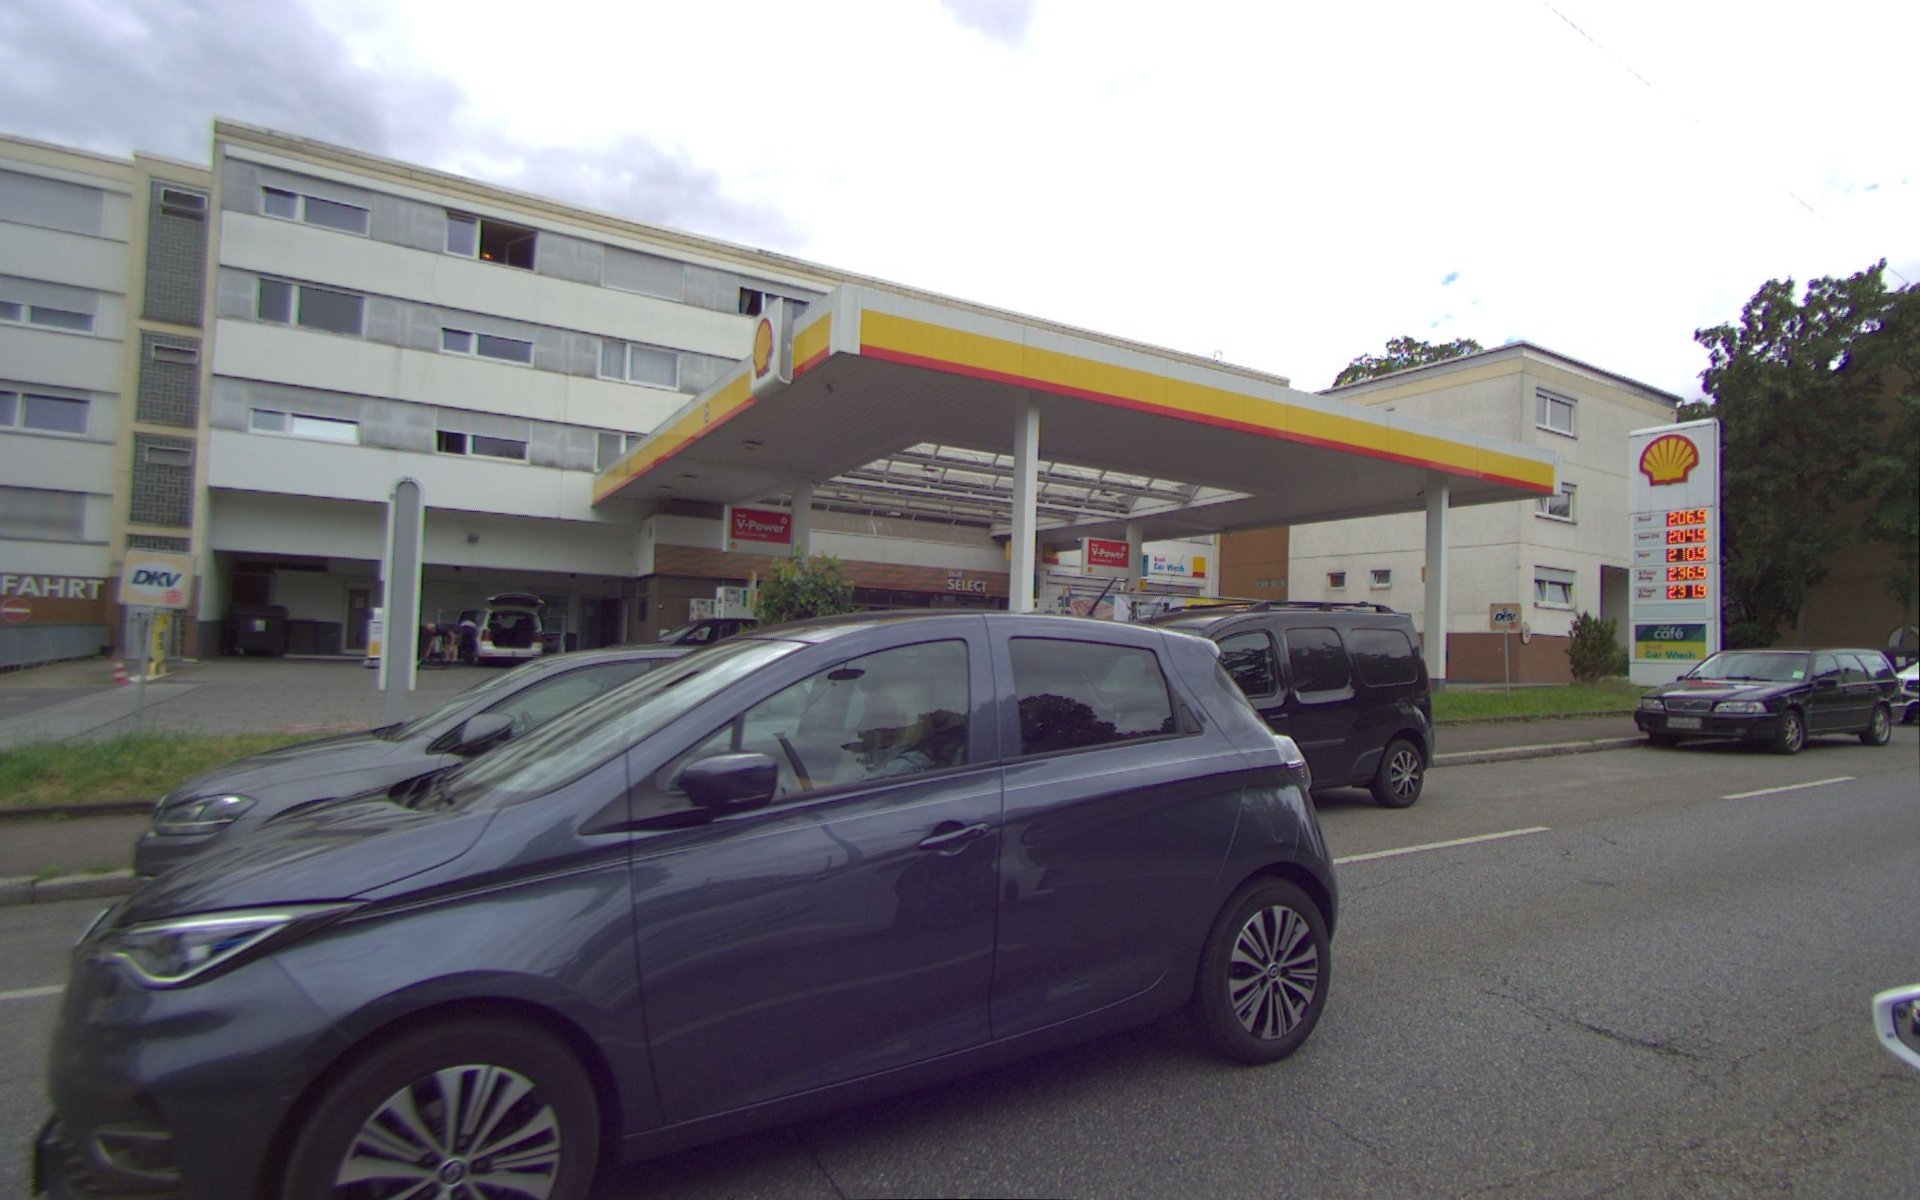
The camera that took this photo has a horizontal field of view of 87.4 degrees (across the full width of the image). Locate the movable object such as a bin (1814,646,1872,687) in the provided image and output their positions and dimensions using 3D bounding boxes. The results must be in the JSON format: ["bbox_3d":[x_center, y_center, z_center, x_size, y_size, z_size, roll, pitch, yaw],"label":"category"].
[{"bbox_3d":[32.230,2.405,36.673,0.903,1.447,1.385,1,-1,-32],"label":"movable object such as a bin"}]

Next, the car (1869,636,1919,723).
[{"bbox_3d":[19.781,1.502,19.417,4.643,1.598,1.907,1,-3,-30],"label":"car"}]

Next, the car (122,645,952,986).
[{"bbox_3d":[-2.289,1.028,6.230,4.168,1.468,1.782,1,-3,-30],"label":"car"}]

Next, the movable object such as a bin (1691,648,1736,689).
[{"bbox_3d":[28.163,2.552,37.537,1.382,1.447,0.905,1,-1,-32],"label":"movable object such as a bin"}]

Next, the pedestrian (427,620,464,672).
[{"bbox_3d":[-13.475,1.189,26.310,0.792,1.332,0.659,1,-1,-32],"label":"pedestrian"}]

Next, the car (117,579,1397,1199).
[{"bbox_3d":[-0.377,0.825,3.508,3.676,1.575,1.675,1,-3,-31],"label":"car"}]

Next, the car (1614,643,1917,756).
[{"bbox_3d":[11.995,1.377,14.902,4.684,1.450,1.791,1,-3,-28],"label":"car"}]

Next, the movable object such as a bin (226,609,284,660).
[{"bbox_3d":[-19.745,0.960,28.180,1.230,1.391,1.144,2,-2,-32],"label":"movable object such as a bin"}]

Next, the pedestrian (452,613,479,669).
[{"bbox_3d":[-13.671,1.125,27.764,0.656,1.537,0.795,1,-1,-27],"label":"pedestrian"}]

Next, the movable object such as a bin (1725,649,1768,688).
[{"bbox_3d":[30.572,2.635,39.057,1.382,1.447,0.905,1,-1,-32],"label":"movable object such as a bin"}]

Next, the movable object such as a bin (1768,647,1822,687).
[{"bbox_3d":[31.485,2.517,37.884,0.903,1.447,1.385,1,-1,-32],"label":"movable object such as a bin"}]

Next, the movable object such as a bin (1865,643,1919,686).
[{"bbox_3d":[32.984,2.268,35.421,0.903,1.447,1.385,1,-1,-32],"label":"movable object such as a bin"}]

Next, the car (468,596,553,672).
[{"bbox_3d":[-12.755,0.952,28.394,1.814,1.989,3.877,2,-2,-29],"label":"car"}]

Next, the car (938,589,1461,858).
[{"bbox_3d":[2.255,0.948,9.017,4.649,1.859,1.842,1,-3,-32],"label":"car"}]

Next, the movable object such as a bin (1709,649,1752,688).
[{"bbox_3d":[29.378,2.593,38.296,1.382,1.447,0.905,1,-1,-32],"label":"movable object such as a bin"}]

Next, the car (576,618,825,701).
[{"bbox_3d":[-4.997,1.098,19.501,4.365,1.439,1.789,1,-1,-30],"label":"car"}]
